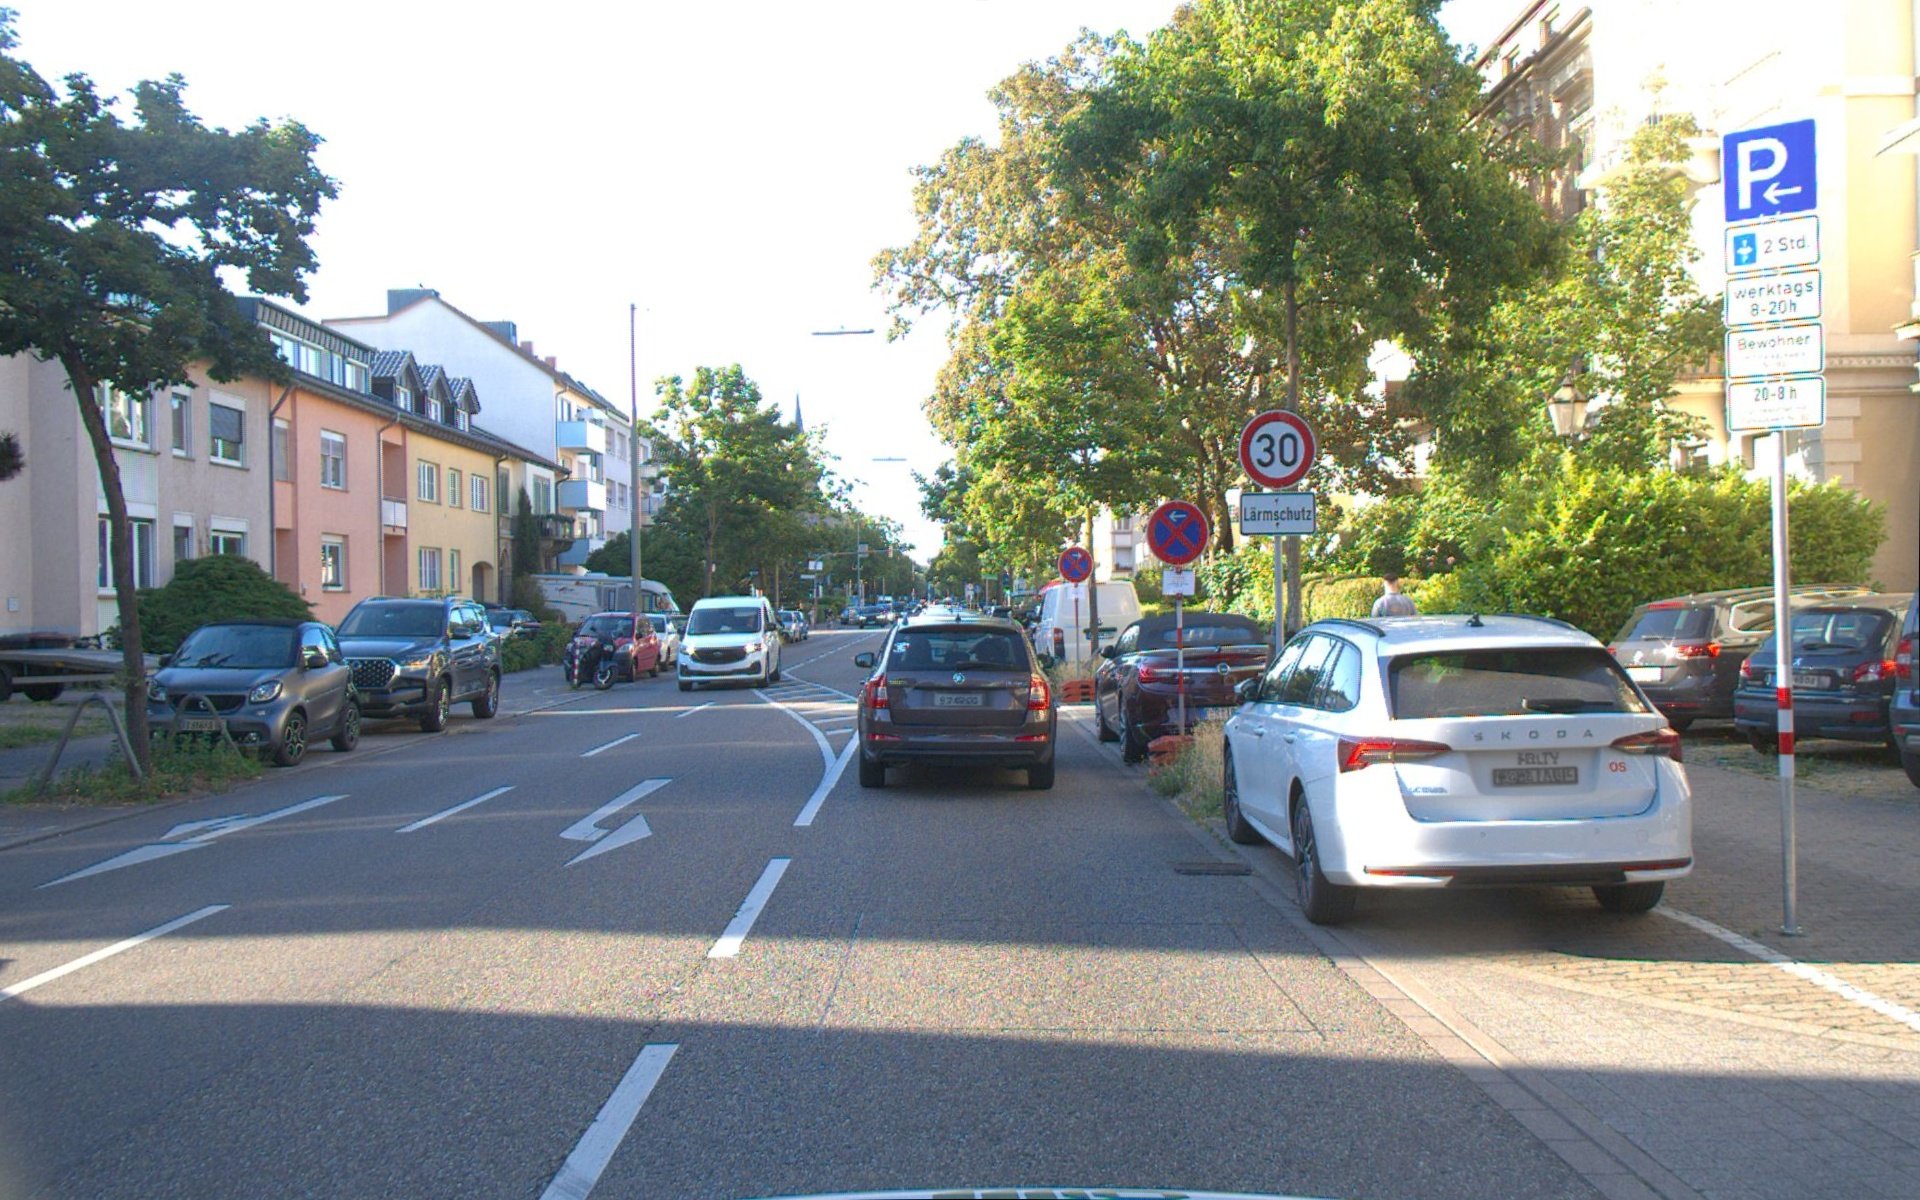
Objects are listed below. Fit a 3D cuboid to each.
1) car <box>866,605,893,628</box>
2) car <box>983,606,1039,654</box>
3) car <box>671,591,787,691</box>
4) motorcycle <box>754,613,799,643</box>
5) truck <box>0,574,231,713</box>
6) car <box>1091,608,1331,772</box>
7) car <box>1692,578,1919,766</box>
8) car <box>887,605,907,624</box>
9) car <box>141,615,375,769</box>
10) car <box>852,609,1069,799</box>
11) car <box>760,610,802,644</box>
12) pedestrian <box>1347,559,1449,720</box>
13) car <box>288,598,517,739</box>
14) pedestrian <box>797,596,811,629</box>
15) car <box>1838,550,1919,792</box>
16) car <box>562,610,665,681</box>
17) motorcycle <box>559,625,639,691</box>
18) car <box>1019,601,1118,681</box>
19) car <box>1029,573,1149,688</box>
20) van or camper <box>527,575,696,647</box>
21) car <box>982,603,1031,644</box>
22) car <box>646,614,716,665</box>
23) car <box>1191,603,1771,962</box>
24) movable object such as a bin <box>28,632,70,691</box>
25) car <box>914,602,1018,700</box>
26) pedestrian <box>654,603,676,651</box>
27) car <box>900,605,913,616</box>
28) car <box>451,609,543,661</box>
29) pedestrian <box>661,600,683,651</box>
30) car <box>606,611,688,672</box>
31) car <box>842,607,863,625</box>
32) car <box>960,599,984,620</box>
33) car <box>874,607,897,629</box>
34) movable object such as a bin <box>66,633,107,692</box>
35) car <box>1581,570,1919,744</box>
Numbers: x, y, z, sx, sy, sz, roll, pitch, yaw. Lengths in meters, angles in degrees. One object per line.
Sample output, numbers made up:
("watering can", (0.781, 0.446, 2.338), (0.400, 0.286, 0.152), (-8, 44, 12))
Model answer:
("car", (-5.931, 1.212, 122.279), (1.798, 1.597, 3.999), (-3, -1, -1))
("car", (1.722, 1.020, 57.159), (1.673, 1.506, 4.267), (-3, 0, -1))
("car", (-4.691, 0.807, 34.144), (1.850, 1.835, 4.429), (-3, 0, -2))
("motorcycle", (-8.250, 1.257, 74.247), (2.014, 1.287, 0.764), (-2, -1, 38))
("truck", (-16.329, 0.744, 28.167), (6.754, 2.223, 2.276), (-1, 0, -1))
("car", (2.537, 0.854, 17.811), (1.722, 1.445, 4.613), (-3, 0, -1))
("car", (8.939, 0.558, 15.287), (4.034, 1.466, 1.703), (-3, 0, -25))
("car", (-6.900, 1.608, 181.035), (1.953, 1.942, 4.962), (-3, 0, -1))
("car", (-7.865, 0.974, 18.771), (1.541, 1.582, 2.748), (-1, 0, -2))
("car", (-0.038, 0.845, 15.395), (1.737, 1.515, 4.310), (0, 0, -1))
("car", (-8.404, 1.256, 77.973), (1.561, 1.496, 3.803), (1, 0, -1))
("pedestrian", (5.087, 0.448, 19.274), (0.804, 1.805, 1.088), (-1, 0, -5))
("car", (-7.915, 0.907, 23.975), (1.849, 1.810, 4.724), (-1, 0, -2))
("pedestrian", (-9.766, 0.765, 103.538), (0.764, 2.022, 0.821), (-1, 0, 0))
("car", (8.725, 0.448, 12.584), (4.045, 1.729, 1.769), (-2, 0, -31))
("car", (-7.978, 1.013, 38.329), (1.560, 1.550, 3.437), (-1, 0, 2))
("motorcycle", (-7.550, 1.190, 34.523), (1.164, 1.288, 2.352), (-1, 0, -24))
("car", (2.436, 0.890, 38.138), (1.818, 1.631, 4.310), (-3, 0, -1))
("car", (2.537, 0.579, 33.612), (1.865, 2.140, 4.638), (-1, 0, -2))
("van or camper", (-14.735, 0.466, 70.264), (6.660, 2.821, 2.351), (1, 0, -2))
("car", (1.943, 0.959, 69.785), (1.818, 1.609, 4.012), (-3, 0, -1))
("car", (-8.260, 1.154, 49.255), (1.511, 1.421, 3.665), (-1, 0, -1))
("car", (2.555, 0.788, 9.392), (1.784, 1.503, 4.621), (-1, 0, -1))
("movable object such as a bin", (-17.653, 1.179, 32.049), (0.478, 1.109, 0.586), (-1, 0, -1))
("car", (0.103, 0.864, 29.615), (1.701, 1.598, 4.000), (1, 0, 0))
("pedestrian", (-11.440, 1.046, 64.174), (0.699, 1.824, 0.572), (-1, 0, 2))
("car", (-8.094, 1.623, 249.880), (1.793, 1.607, 3.999), (-1, 0, -1))
("car", (-13.905, 1.027, 49.877), (1.630, 1.433, 3.753), (-2, 0, 1))
("pedestrian", (-10.610, 0.936, 60.951), (0.699, 1.824, 0.506), (-1, 0, 2))
("car", (-8.360, 1.079, 44.484), (1.561, 1.550, 3.889), (-1, 0, -2))
("car", (-9.113, 1.357, 140.340), (1.491, 1.482, 3.584), (-1, 0, -1))
("car", (1.077, 0.850, 144.768), (1.952, 1.803, 4.001), (1, 0, 2))
("car", (-6.348, 1.518, 141.829), (1.769, 1.836, 4.744), (-3, 0, -1))
("movable object such as a bin", (-17.022, 1.213, 32.238), (0.478, 1.109, 0.586), (-1, 0, -1))
("car", (8.889, 0.526, 17.487), (4.174, 1.537, 1.782), (-3, 0, -20))
